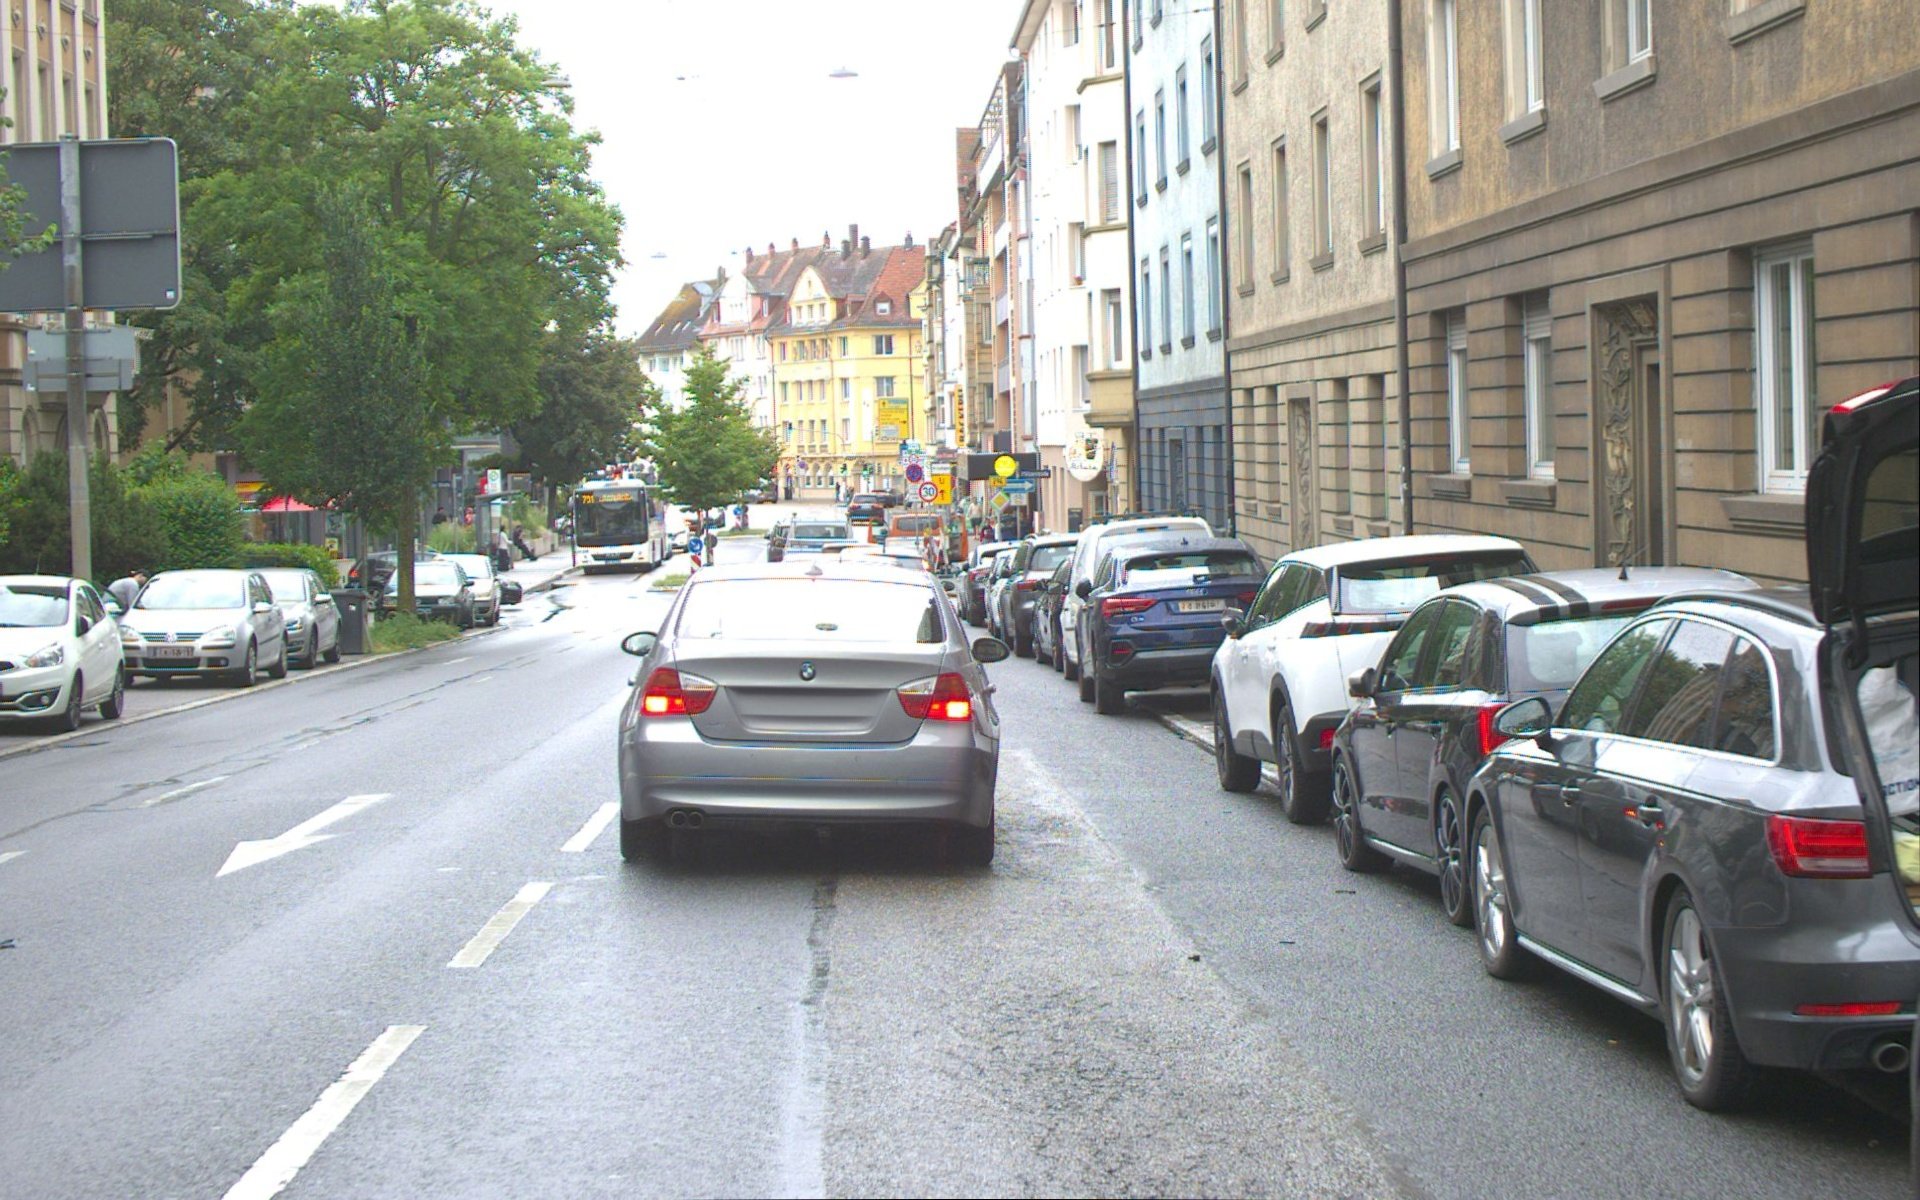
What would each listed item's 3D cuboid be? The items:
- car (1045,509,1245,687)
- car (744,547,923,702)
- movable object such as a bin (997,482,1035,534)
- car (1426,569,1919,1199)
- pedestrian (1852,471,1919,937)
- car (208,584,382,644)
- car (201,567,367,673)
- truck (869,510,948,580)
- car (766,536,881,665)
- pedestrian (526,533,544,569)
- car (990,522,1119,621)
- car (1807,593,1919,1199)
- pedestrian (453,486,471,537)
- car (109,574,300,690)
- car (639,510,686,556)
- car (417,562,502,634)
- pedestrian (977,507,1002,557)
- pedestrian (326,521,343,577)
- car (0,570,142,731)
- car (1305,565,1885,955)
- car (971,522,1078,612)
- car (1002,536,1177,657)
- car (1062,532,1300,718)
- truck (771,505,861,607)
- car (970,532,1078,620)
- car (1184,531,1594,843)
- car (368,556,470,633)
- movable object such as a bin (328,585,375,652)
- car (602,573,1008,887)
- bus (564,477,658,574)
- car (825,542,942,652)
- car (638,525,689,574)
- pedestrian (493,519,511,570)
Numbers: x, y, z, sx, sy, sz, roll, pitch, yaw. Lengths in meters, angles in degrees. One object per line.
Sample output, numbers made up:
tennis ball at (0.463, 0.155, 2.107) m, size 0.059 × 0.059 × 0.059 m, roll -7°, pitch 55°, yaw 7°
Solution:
car at (2.029, -0.060, 38.695) m, size 1.790 × 1.811 × 4.080 m, roll -3°, pitch 1°, yaw -2°
car at (-1.290, 0.224, 33.855) m, size 1.601 × 1.415 × 3.288 m, roll 1°, pitch 0°, yaw -4°
movable object such as a bin at (1.906, -3.141, 117.156) m, size 1.122 × 1.697 × 1.434 m, roll -2°, pitch 0°, yaw -4°
car at (2.748, 0.659, 10.372) m, size 1.777 × 1.474 × 4.588 m, roll -2°, pitch 0°, yaw -3°
pedestrian at (2.715, 0.486, 8.466) m, size 0.630 × 1.685 × 0.635 m, roll -8°, pitch -1°, yaw 0°
car at (-15.709, 0.330, 81.326) m, size 3.815 × 1.385 × 1.743 m, roll 0°, pitch 0°, yaw -3°
car at (-9.846, 0.261, 50.315) m, size 1.682 × 1.385 × 3.936 m, roll -3°, pitch 1°, yaw -1°
truck at (-1.676, -1.745, 109.998) m, size 2.215 × 2.109 × 4.653 m, roll 2°, pitch 0°, yaw -4°
car at (-2.287, -0.002, 56.687) m, size 1.705 × 2.007 × 4.001 m, roll 1°, pitch 0°, yaw -4°
pedestrian at (-16.466, -1.881, 133.122) m, size 0.619 × 1.373 × 0.544 m, roll 1°, pitch 0°, yaw -1°
car at (1.492, -0.491, 55.546) m, size 1.729 × 1.424 × 3.974 m, roll -4°, pitch 1°, yaw -2°
car at (2.820, 0.710, 5.031) m, size 1.777 × 1.474 × 4.190 m, roll -2°, pitch 0°, yaw -5°
pedestrian at (-17.474, -3.098, 120.621) m, size 0.542 × 1.783 × 0.508 m, roll 1°, pitch 0°, yaw -11°
car at (-9.688, 0.380, 44.316) m, size 1.682 × 1.385 × 3.909 m, roll 0°, pitch 1°, yaw -1°
car at (-13.759, -3.070, 159.053) m, size 1.993 × 2.007 × 4.000 m, roll 1°, pitch 0°, yaw -3°
car at (-10.786, -0.061, 74.227) m, size 1.631 × 1.449 × 3.840 m, roll -1°, pitch 1°, yaw -6°
pedestrian at (1.004, -2.305, 116.054) m, size 0.750 × 1.655 × 0.754 m, roll 1°, pitch 0°, yaw 5°
pedestrian at (-20.153, -1.650, 110.814) m, size 0.464 × 1.783 × 0.545 m, roll 1°, pitch 0°, yaw -8°
car at (-9.302, 0.478, 34.115) m, size 1.645 × 1.503 × 3.797 m, roll -1°, pitch 0°, yaw -3°
car at (2.660, 0.607, 15.239) m, size 1.632 × 1.473 × 3.735 m, roll 1°, pitch 1°, yaw -4°
car at (1.103, -0.601, 60.306) m, size 1.583 × 1.424 × 3.595 m, roll -4°, pitch 1°, yaw -2°
car at (1.665, -0.078, 45.525) m, size 1.840 × 1.404 × 4.388 m, roll -4°, pitch 1°, yaw -3°
car at (2.012, 0.175, 32.357) m, size 1.790 × 1.543 × 4.226 m, roll -3°, pitch 1°, yaw -1°
truck at (-3.774, -1.120, 89.672) m, size 2.216 × 2.535 × 4.780 m, roll 1°, pitch 0°, yaw -3°
car at (1.209, -0.481, 66.617) m, size 1.818 × 1.552 × 4.293 m, roll -3°, pitch 1°, yaw -2°
car at (2.437, 0.443, 20.497) m, size 1.632 × 1.633 × 4.196 m, roll 1°, pitch 1°, yaw -4°
car at (-10.886, -0.140, 69.403) m, size 1.653 × 1.449 × 3.943 m, roll -1°, pitch 1°, yaw -4°
movable object such as a bin at (-9.810, 0.298, 55.412) m, size 0.630 × 1.054 × 0.600 m, roll -2°, pitch 0°, yaw -2°
car at (-0.728, 0.560, 16.484) m, size 1.755 × 1.358 × 3.165 m, roll 0°, pitch 0°, yaw -2°
bus at (-12.424, -2.585, 123.116) m, size 2.681 × 3.190 × 11.957 m, roll 1°, pitch 0°, yaw -3°
car at (-0.984, -0.036, 45.231) m, size 1.435 × 1.352 × 3.762 m, roll 1°, pitch 0°, yaw -1°
car at (-12.375, -2.107, 143.745) m, size 1.993 × 2.007 × 4.000 m, roll 0°, pitch 0°, yaw -3°
pedestrian at (-15.635, -1.895, 117.332) m, size 0.542 × 1.703 × 0.466 m, roll 1°, pitch 0°, yaw -8°
